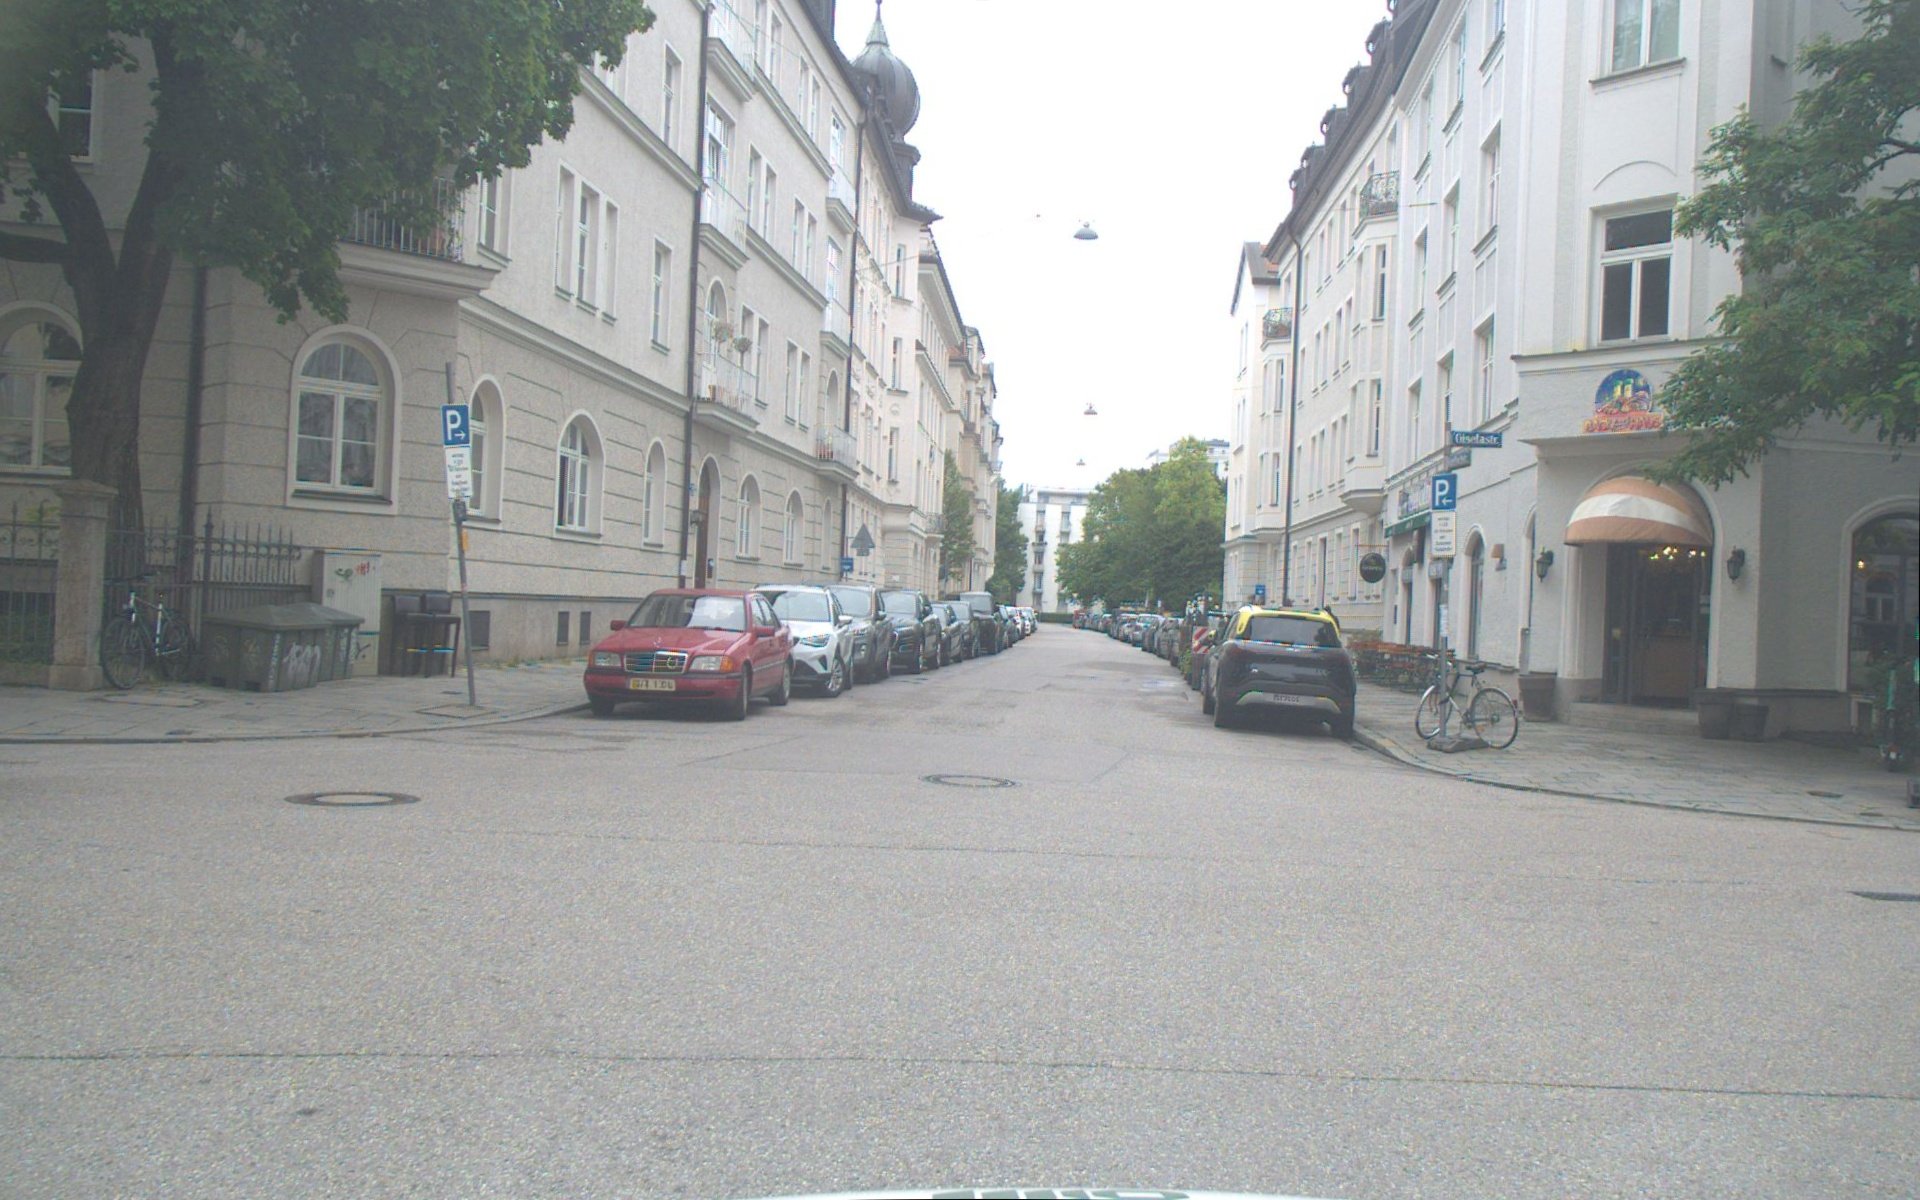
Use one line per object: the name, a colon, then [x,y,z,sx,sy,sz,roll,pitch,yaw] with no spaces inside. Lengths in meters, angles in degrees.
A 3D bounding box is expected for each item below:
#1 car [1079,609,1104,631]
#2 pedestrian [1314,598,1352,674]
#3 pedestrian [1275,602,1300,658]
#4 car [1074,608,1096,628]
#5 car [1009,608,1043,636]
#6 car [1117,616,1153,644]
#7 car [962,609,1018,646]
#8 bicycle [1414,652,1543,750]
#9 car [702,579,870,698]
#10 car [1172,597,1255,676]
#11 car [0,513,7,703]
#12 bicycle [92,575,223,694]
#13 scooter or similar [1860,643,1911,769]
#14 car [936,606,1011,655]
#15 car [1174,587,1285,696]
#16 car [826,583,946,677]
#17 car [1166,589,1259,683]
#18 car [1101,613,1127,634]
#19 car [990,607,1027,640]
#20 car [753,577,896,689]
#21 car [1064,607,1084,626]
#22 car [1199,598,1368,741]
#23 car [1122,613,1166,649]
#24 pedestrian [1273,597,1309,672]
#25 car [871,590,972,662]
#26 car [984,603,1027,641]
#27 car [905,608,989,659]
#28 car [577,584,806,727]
car: [11.704,1.787,147.345,1.952,1.820,4.067,3,0,2]
pedestrian: [9.627,0.915,42.682,0.762,1.883,1.023,2,0,6]
pedestrian: [11.407,1.041,57.596,0.761,1.883,0.860,2,0,13]
car: [13.325,1.884,176.492,1.952,2.017,4.894,3,0,2]
car: [4.054,1.309,100.927,1.952,1.601,4.001,3,0,2]
car: [9.711,1.641,91.950,1.694,1.442,3.853,3,0,3]
car: [1.164,1.011,62.419,1.866,1.243,4.002,3,0,4]
bicycle: [6.061,1.160,19.420,0.531,1.016,1.747,-1,1,-18]
car: [-2.426,0.516,24.132,1.953,1.499,4.218,3,0,0]
car: [6.613,0.923,43.560,1.951,1.889,4.348,3,0,7]
car: [-7.721,0.209,8.821,4.232,1.635,1.952,2,0,-21]
bicycle: [-8.029,0.312,16.624,0.483,1.070,1.826,3,2,-3]
scooter or similar: [10.310,1.156,18.437,0.419,1.301,1.277,3,1,29]
car: [0.461,0.906,50.635,1.866,1.352,4.003,3,0,6]
car: [5.379,0.795,33.494,1.782,1.903,4.291,5,0,5]
car: [-1.434,0.577,33.748,1.952,1.705,4.290,3,0,3]
car: [5.906,0.817,39.111,1.782,1.956,4.186,5,0,5]
car: [12.763,1.966,137.036,1.909,1.681,4.001,1,0,3]
car: [2.349,1.103,79.927,1.698,1.444,4.001,3,0,2]
car: [-2.264,0.535,28.710,1.952,1.705,4.013,3,0,2]
car: [12.901,1.868,187.252,1.952,2.017,4.894,3,0,2]
car: [4.440,0.897,23.277,1.782,1.664,4.291,5,0,5]
car: [9.001,1.497,81.239,1.867,1.604,4.001,3,0,3]
pedestrian: [8.659,0.895,43.274,0.762,1.883,1.023,2,0,6]
car: [-0.885,0.608,40.175,1.885,1.573,4.003,3,0,6]
car: [2.073,0.967,73.970,1.782,1.601,4.001,3,0,2]
car: [-0.319,0.901,46.059,1.866,1.243,4.003,3,0,6]
car: [-2.986,0.580,19.289,1.694,1.402,4.228,3,0,3]
